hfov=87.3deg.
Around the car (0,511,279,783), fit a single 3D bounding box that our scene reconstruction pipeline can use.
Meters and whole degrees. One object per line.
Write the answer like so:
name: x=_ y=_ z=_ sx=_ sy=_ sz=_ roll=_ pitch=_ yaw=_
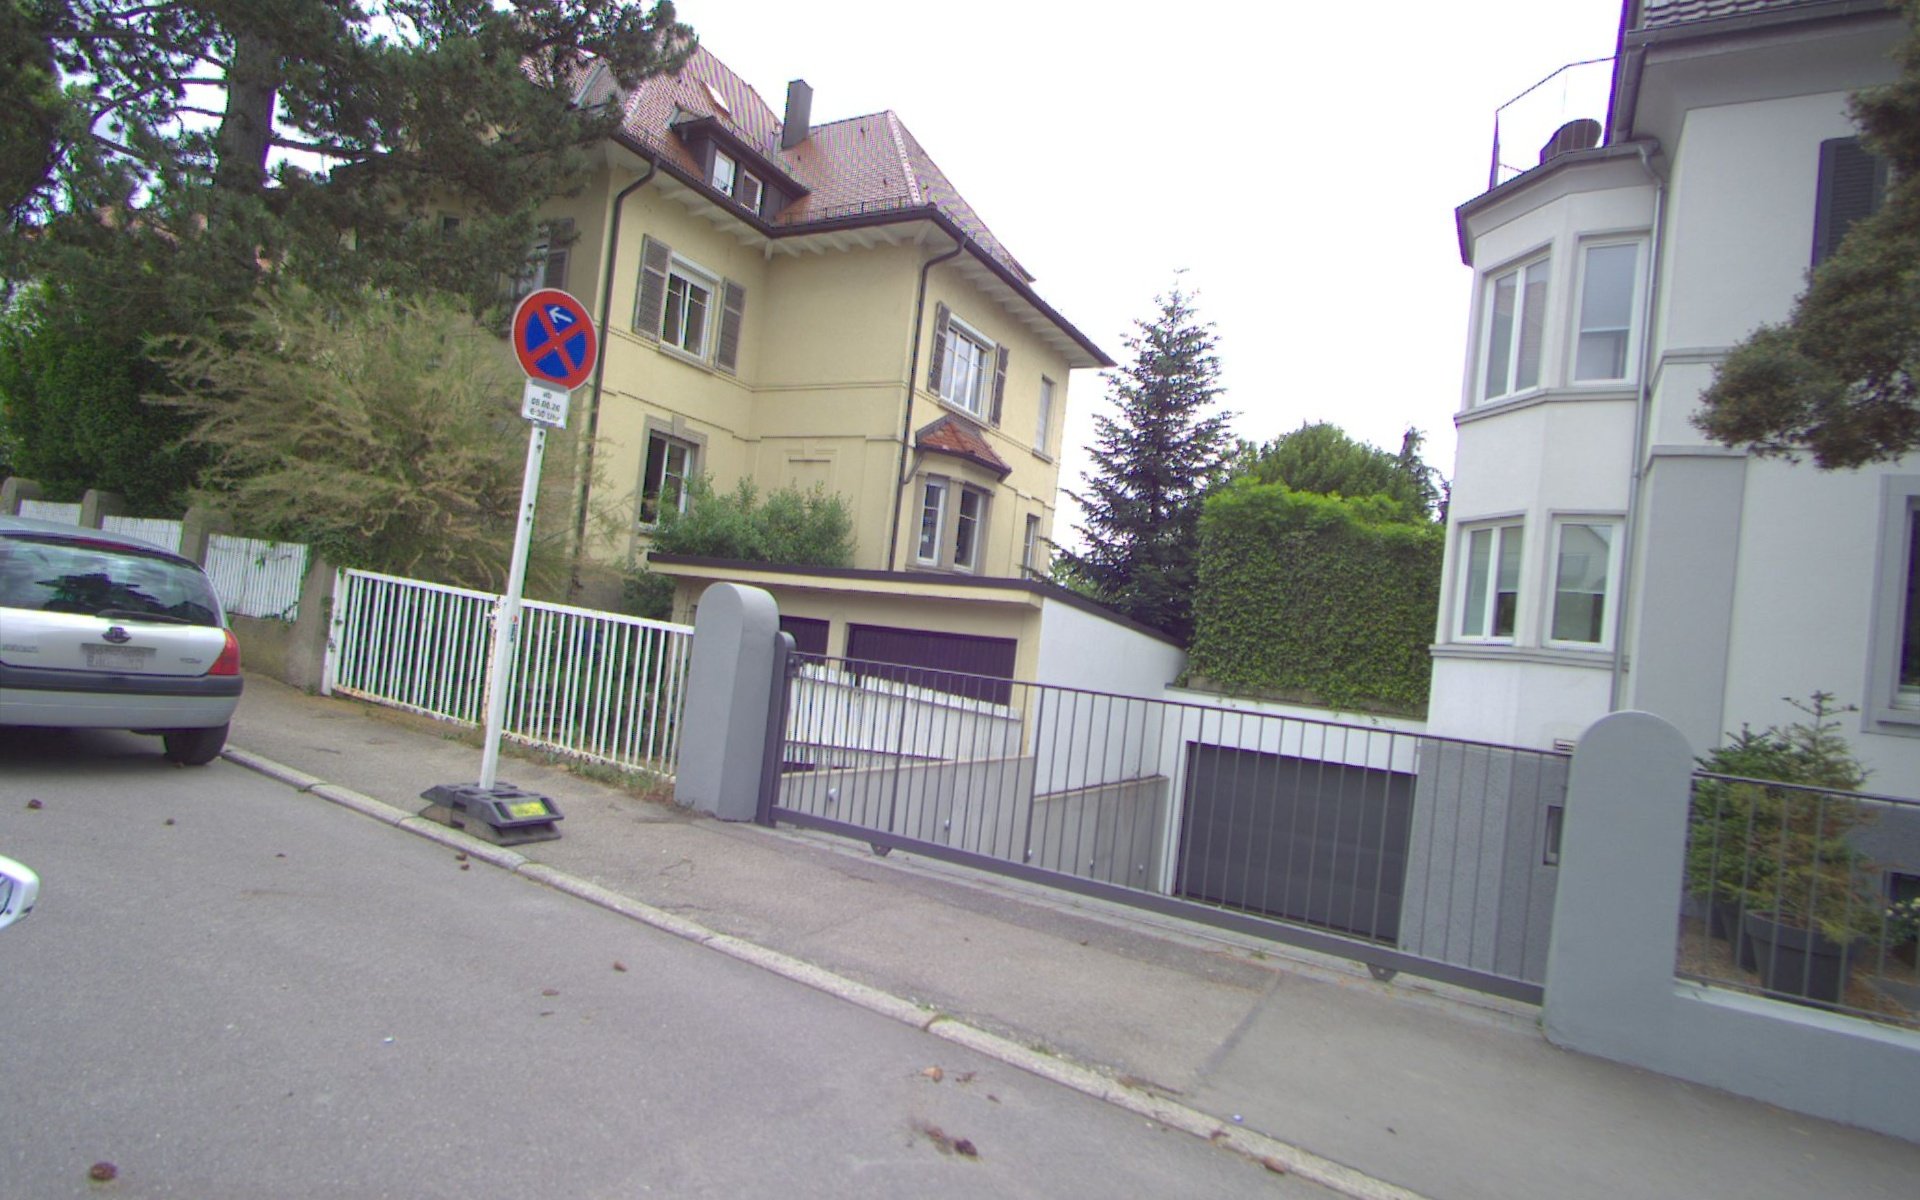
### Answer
car: x=-6.401 y=0.136 z=6.684 sx=3.594 sy=1.415 sz=1.579 roll=7 pitch=-3 yaw=31
